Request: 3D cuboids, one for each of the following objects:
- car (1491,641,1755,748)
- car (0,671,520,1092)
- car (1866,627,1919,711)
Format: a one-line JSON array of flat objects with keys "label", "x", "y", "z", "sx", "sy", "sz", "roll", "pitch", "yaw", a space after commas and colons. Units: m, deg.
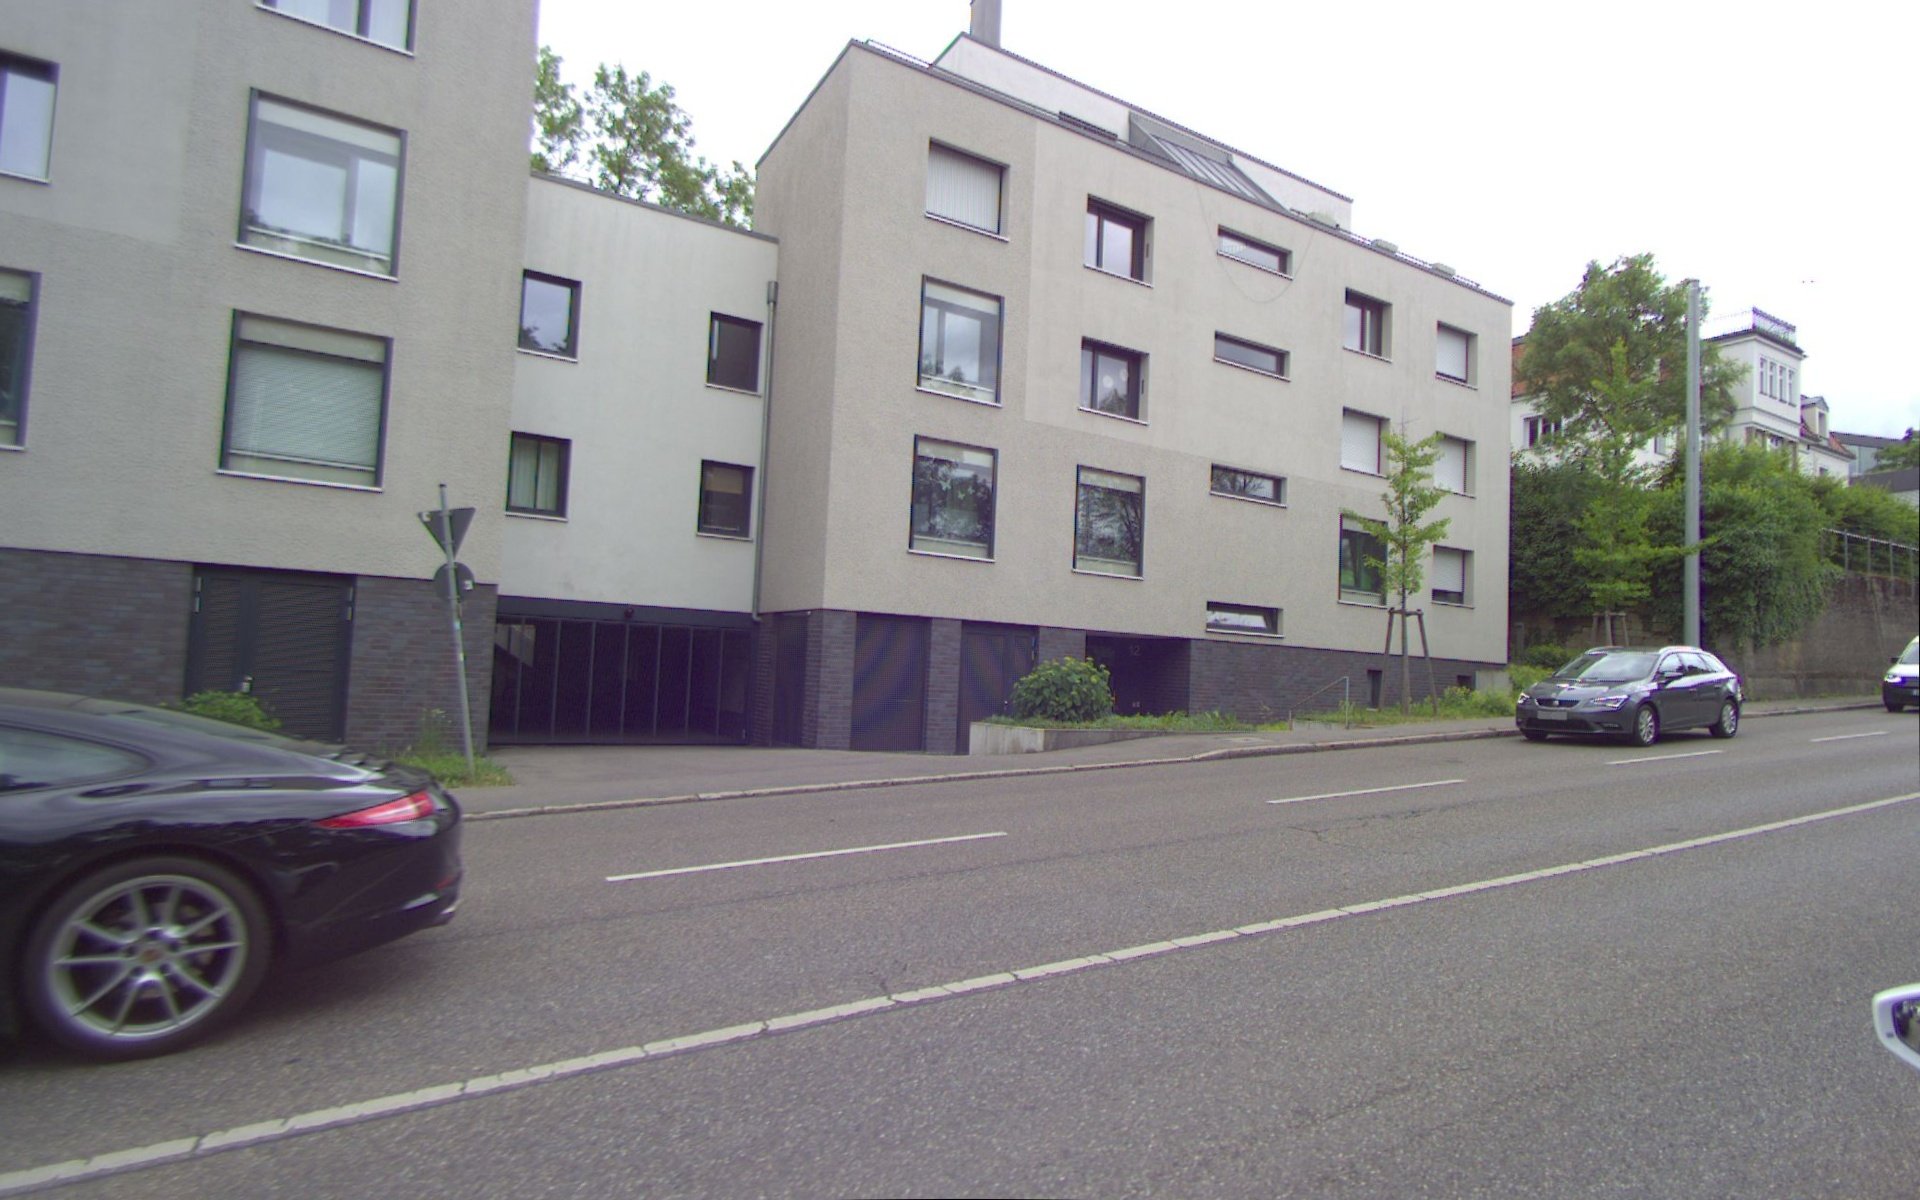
[{"label": "car", "x": 10.527, "y": 1.408, "z": 15.878, "sx": 4.372, "sy": 1.483, "sz": 1.725, "roll": 1, "pitch": -3, "yaw": -31}, {"label": "car", "x": -3.972, "y": 0.951, "z": 3.694, "sx": 4.143, "sy": 1.285, "sz": 1.745, "roll": 1, "pitch": -3, "yaw": -31}, {"label": "car", "x": 22.807, "y": 1.551, "z": 22.963, "sx": 4.810, "sy": 1.811, "sz": 1.725, "roll": 1, "pitch": -3, "yaw": -31}]
